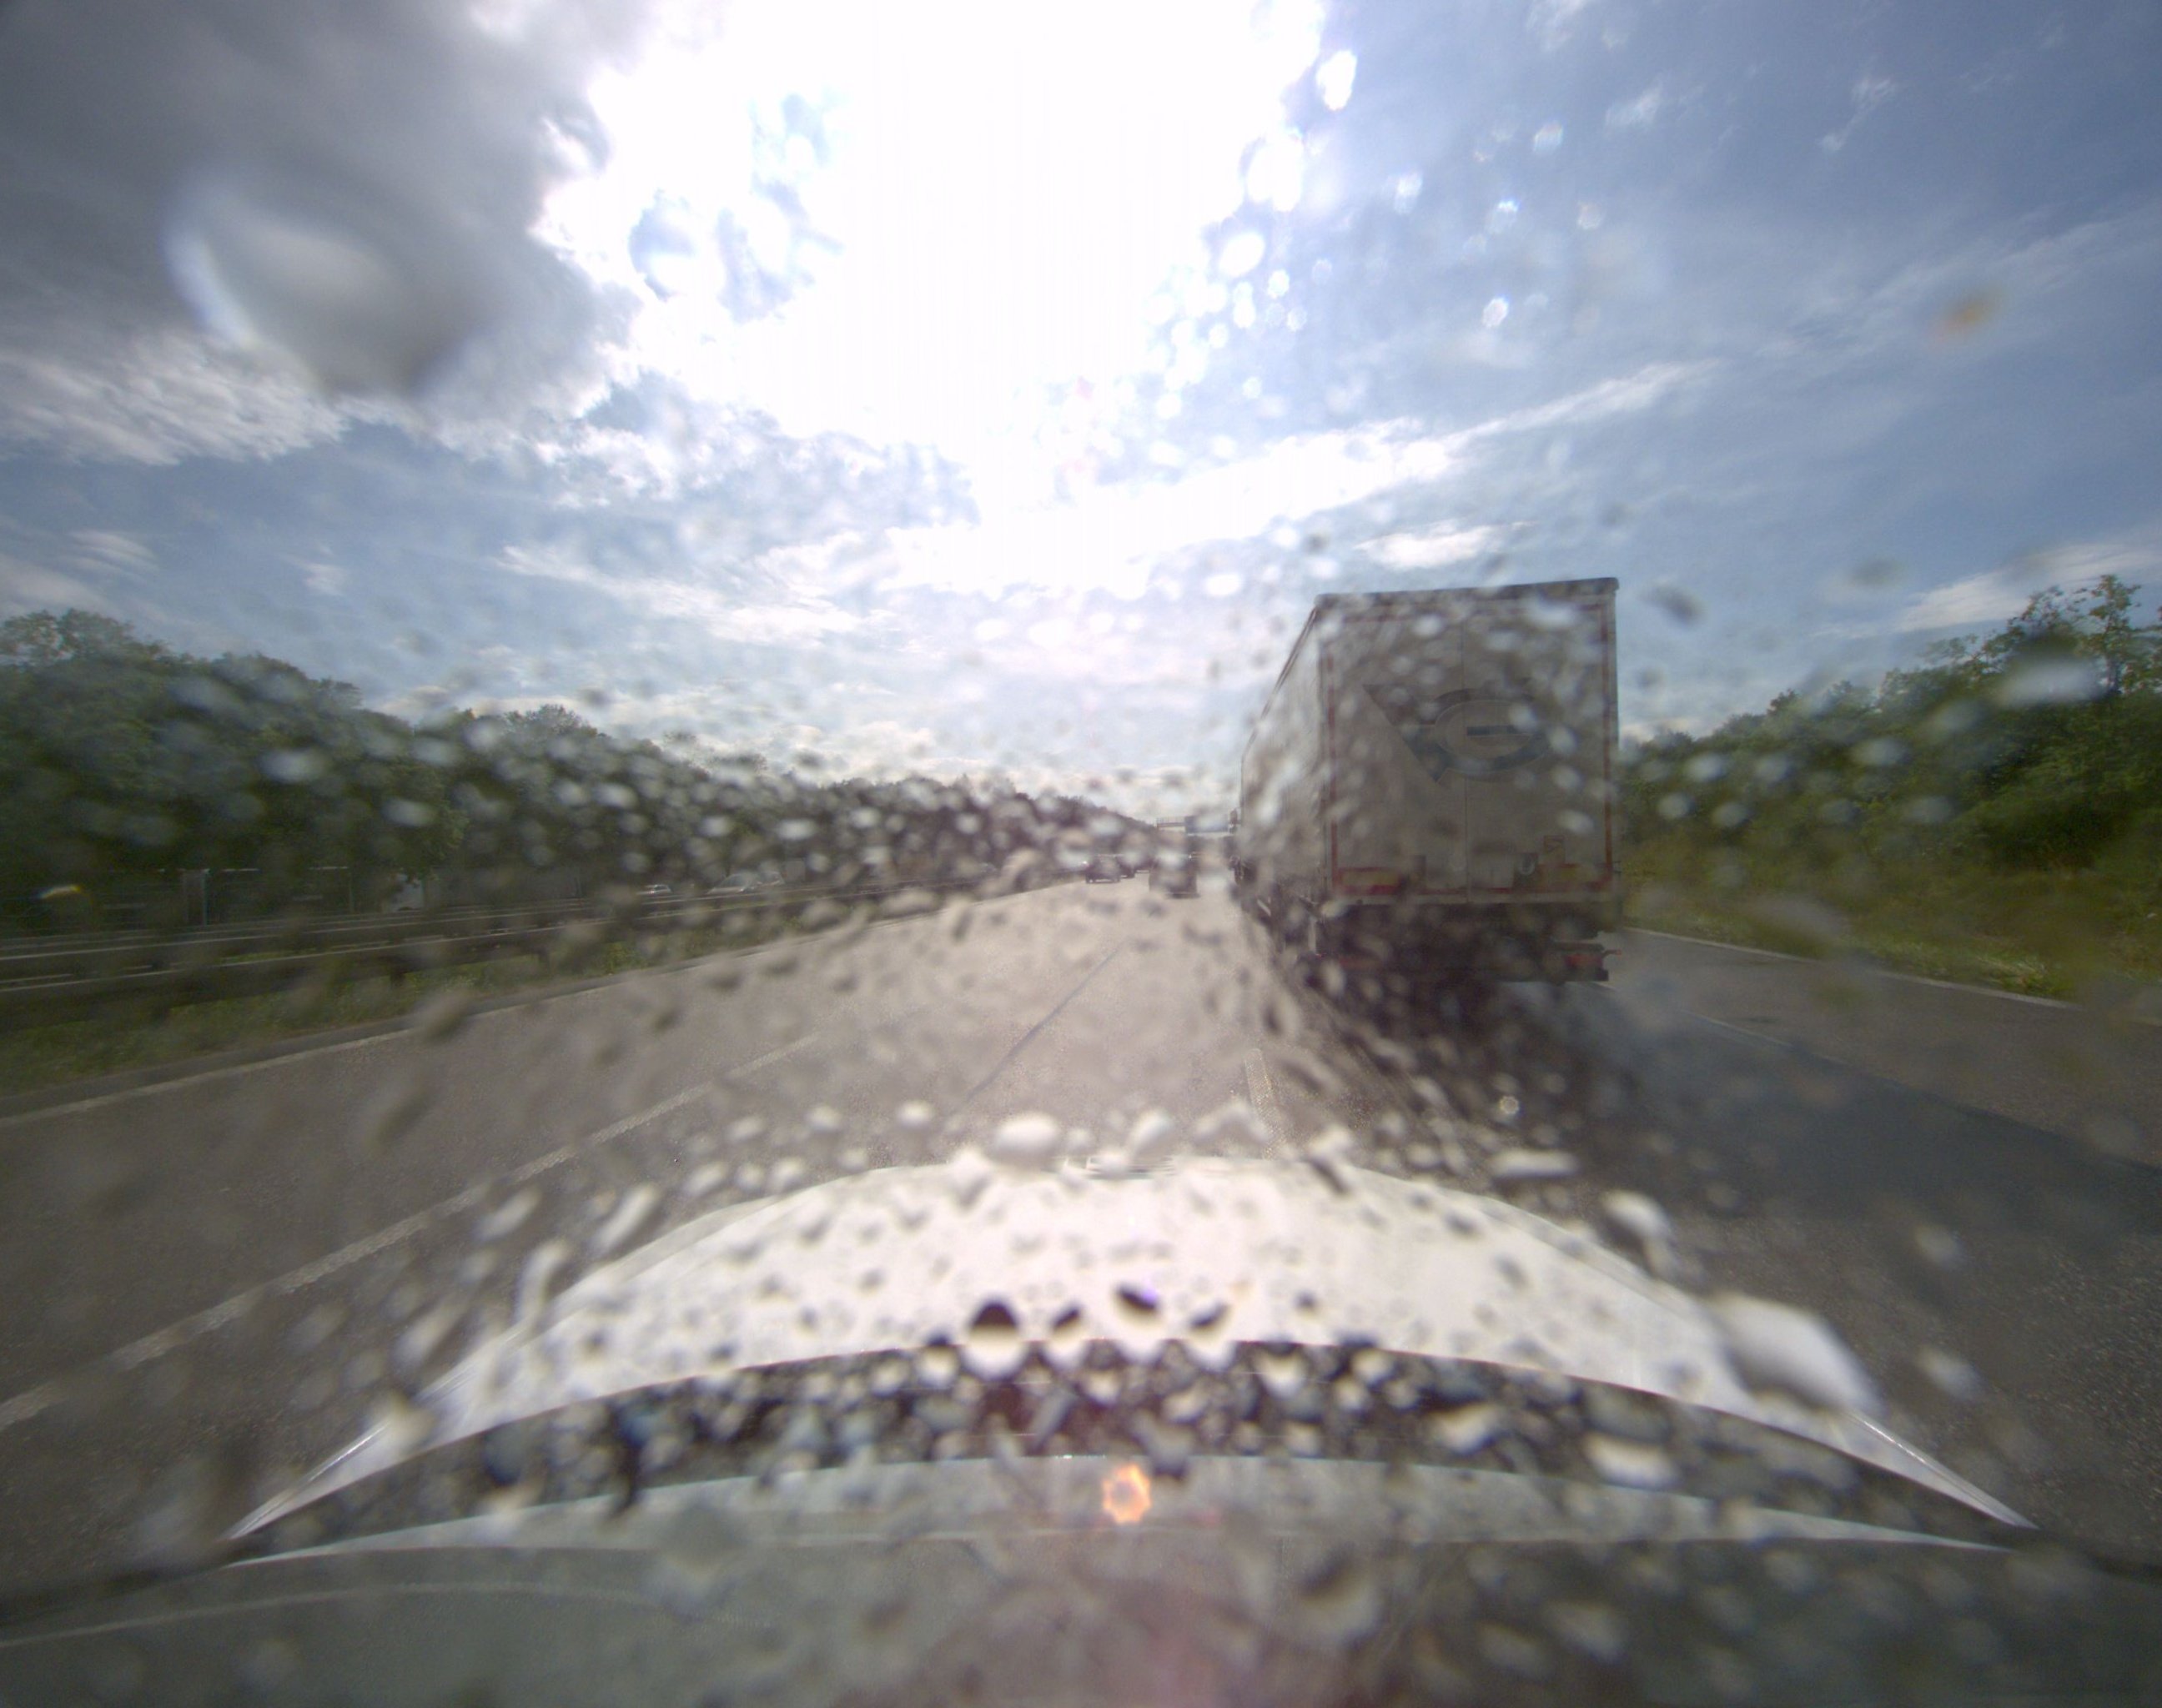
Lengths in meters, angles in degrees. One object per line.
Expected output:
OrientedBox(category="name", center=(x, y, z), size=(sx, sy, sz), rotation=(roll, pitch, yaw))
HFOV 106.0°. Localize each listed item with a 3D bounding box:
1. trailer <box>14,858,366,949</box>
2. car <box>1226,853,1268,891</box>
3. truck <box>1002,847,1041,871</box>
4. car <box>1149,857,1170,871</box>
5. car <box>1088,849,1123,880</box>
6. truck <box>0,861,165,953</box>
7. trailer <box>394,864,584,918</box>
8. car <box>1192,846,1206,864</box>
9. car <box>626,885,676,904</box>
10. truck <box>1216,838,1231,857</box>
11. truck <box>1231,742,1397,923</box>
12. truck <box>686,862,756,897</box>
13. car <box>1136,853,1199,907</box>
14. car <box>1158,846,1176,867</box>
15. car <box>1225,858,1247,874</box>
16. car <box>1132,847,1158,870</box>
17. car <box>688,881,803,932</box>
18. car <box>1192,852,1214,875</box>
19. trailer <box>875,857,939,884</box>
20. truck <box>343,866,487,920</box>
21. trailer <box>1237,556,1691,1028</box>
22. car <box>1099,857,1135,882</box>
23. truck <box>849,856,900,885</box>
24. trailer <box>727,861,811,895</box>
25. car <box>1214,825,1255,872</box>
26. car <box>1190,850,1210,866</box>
OrientedBox(category="trailer", center=(-50.478, 2.502, 47.413), size=(3.765, 4.405, 13.839), rotation=(-2, 0, 10))
OrientedBox(category="car", center=(9.064, 0.965, 44.867), size=(1.930, 1.919, 5.665), rotation=(-1, -1, 9))
OrientedBox(category="truck", center=(-6.902, 0.551, 95.505), size=(2.825, 2.682, 7.210), rotation=(-1, -1, 9))
OrientedBox(category="car", center=(8.682, 1.099, 89.784), size=(1.981, 1.565, 4.769), rotation=(-1, -1, 10))
OrientedBox(category="car", center=(1.495, 0.622, 48.730), size=(1.683, 1.805, 3.984), rotation=(-1, -1, 7))
OrientedBox(category="truck", center=(-51.736, 2.495, 39.801), size=(3.765, 4.234, 8.439), rotation=(-1, -1, 9))
OrientedBox(category="trailer", center=(-46.754, 2.745, 65.349), size=(3.765, 3.649, 13.382), rotation=(-2, 0, 10))
OrientedBox(category="car", center=(18.242, 0.229, 125.842), size=(1.981, 2.746, 5.273), rotation=(-1, -1, 10))
OrientedBox(category="car", center=(-42.666, 4.035, 80.986), size=(2.045, 1.718, 4.382), rotation=(-1, -1, 12))
OrientedBox(category="truck", center=(27.962, -1.162, 160.228), size=(2.758, 3.632, 5.932), rotation=(-1, -1, 10))
OrientedBox(category="truck", center=(5.641, -0.448, 20.958), size=(3.266, 3.891, 6.411), rotation=(0, 0, 8))
OrientedBox(category="truck", center=(-40.004, 2.798, 90.737), size=(3.760, 3.660, 6.731), rotation=(-1, -1, 14))
OrientedBox(category="car", center=(3.472, 0.965, 31.922), size=(2.262, 1.954, 4.831), rotation=(-1, -1, 8))
OrientedBox(category="car", center=(11.096, 0.285, 104.532), size=(1.981, 2.615, 5.273), rotation=(-1, -1, 10))
OrientedBox(category="car", center=(15.387, 1.213, 80.793), size=(1.855, 1.516, 3.984), rotation=(-1, -1, 7))
OrientedBox(category="car", center=(6.035, 0.402, 76.332), size=(1.966, 2.054, 4.769), rotation=(-1, -1, 10))
OrientedBox(category="car", center=(-13.908, 2.121, 34.139), size=(2.287, 1.891, 4.790), rotation=(-1, -1, 9))
OrientedBox(category="car", center=(9.943, 0.744, 66.718), size=(1.683, 1.805, 3.984), rotation=(-1, -1, 7))
OrientedBox(category="trailer", center=(-27.076, 2.517, 127.691), size=(3.754, 4.117, 11.788), rotation=(-1, -1, 22))
OrientedBox(category="truck", center=(-47.886, 2.699, 58.930), size=(3.765, 3.589, 7.374), rotation=(-1, -1, 9))
OrientedBox(category="trailer", center=(4.538, -0.491, 13.953), size=(3.264, 3.898, 14.164), rotation=(0, 0, 9))
OrientedBox(category="car", center=(2.619, 1.074, 58.134), size=(1.897, 1.636, 4.629), rotation=(-3, -1, 10))
OrientedBox(category="truck", center=(-30.332, 2.457, 119.863), size=(3.755, 4.117, 7.083), rotation=(-1, -1, 22))
OrientedBox(category="trailer", center=(-37.727, 2.823, 98.975), size=(3.760, 3.649, 10.543), rotation=(-2, -1, 16))
OrientedBox(category="car", center=(20.468, -0.542, 109.813), size=(4.380, 5.830, 16.850), rotation=(-1, -1, 7))
OrientedBox(category="car", center=(11.675, 0.382, 80.263), size=(1.855, 1.516, 3.984), rotation=(-1, -1, 7))
